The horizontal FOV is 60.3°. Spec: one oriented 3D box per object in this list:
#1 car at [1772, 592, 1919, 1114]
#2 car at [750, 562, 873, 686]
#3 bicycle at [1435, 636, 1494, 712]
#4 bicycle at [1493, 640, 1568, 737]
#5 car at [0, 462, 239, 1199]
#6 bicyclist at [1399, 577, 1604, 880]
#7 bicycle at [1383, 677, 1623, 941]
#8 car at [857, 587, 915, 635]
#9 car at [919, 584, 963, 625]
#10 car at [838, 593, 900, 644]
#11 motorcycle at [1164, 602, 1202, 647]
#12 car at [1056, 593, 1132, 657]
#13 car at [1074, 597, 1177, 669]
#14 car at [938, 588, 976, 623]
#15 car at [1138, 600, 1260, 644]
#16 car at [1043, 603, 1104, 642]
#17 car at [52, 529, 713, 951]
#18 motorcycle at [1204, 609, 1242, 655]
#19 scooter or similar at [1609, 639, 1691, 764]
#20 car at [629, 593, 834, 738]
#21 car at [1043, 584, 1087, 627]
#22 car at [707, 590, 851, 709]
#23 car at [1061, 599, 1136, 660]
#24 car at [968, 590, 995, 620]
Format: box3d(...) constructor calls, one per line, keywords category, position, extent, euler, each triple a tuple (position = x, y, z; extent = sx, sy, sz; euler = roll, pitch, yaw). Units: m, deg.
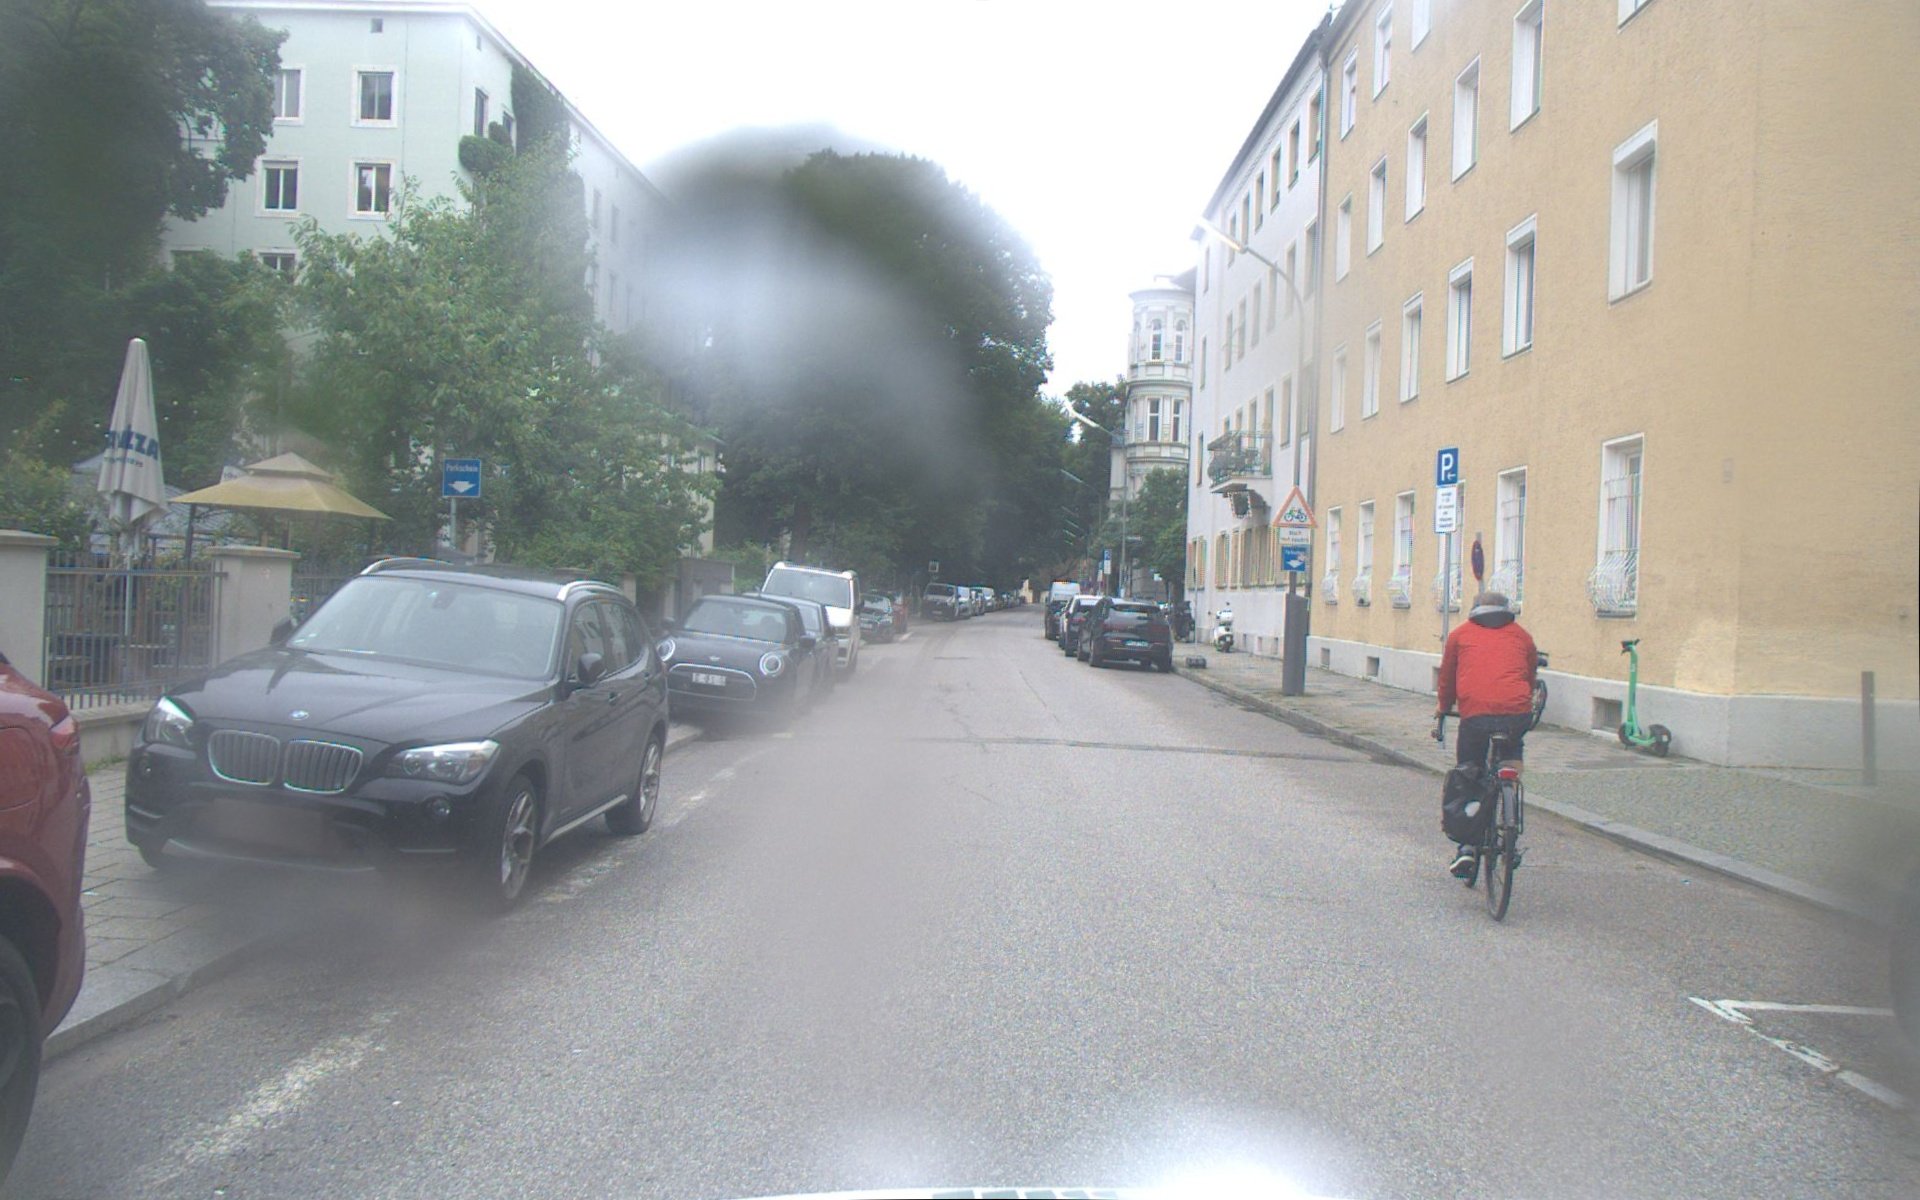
box3d(category="car", position=(4.014, 0.860, 3.696), extent=(1.952, 1.659, 5.101), euler=(3, 0, 2))
box3d(category="car", position=(-2.702, 0.409, 31.158), extent=(1.927, 2.025, 5.149), euler=(3, 0, -2))
box3d(category="bicycle", position=(7.777, 1.120, 25.571), extent=(0.335, 1.101, 1.813), euler=(0, 0, 0))
box3d(category="bicycle", position=(7.468, 1.133, 21.710), extent=(0.335, 1.155, 1.759), euler=(2, 0, 0))
box3d(category="car", position=(-3.075, 0.504, 2.305), extent=(1.863, 1.721, 4.809), euler=(3, 0, 1))
box3d(category="bicyclist", position=(2.901, 0.660, 8.958), extent=(0.739, 1.509, 0.981), euler=(3, 0, 2))
box3d(category="bicycle", position=(2.897, 1.063, 9.049), extent=(0.658, 1.161, 2.011), euler=(3, 0, 2))
box3d(category="car", position=(-2.710, 0.395, 61.674), extent=(1.848, 1.618, 4.528), euler=(3, 0, 0))
box3d(category="car", position=(-0.991, 0.241, 89.812), extent=(2.202, 1.990, 5.453), euler=(3, 0, 0))
box3d(category="car", position=(-2.798, 0.552, 51.937), extent=(1.771, 1.426, 4.922), euler=(3, 0, -2))
box3d(category="motorcycle", position=(7.631, 0.817, 56.764), extent=(0.839, 1.458, 2.706), euler=(2, 0, -1))
box3d(category="car", position=(4.082, 0.726, 51.046), extent=(1.953, 1.736, 4.535), euler=(4, 0, 1))
box3d(category="car", position=(3.957, 0.753, 40.306), extent=(1.823, 1.604, 4.898), euler=(1, 0, -2))
box3d(category="car", position=(-0.157, 0.317, 101.511), extent=(2.139, 1.990, 5.167), euler=(3, 0, 0))
box3d(category="car", position=(9.954, 0.910, 69.151), extent=(4.805, 1.558, 1.914), euler=(2, 2, 0))
box3d(category="car", position=(4.122, 0.791, 60.547), extent=(1.959, 1.342, 4.595), euler=(0, 0, 0))
box3d(category="car", position=(-2.748, 0.578, 9.220), extent=(1.807, 1.635, 4.743), euler=(3, 0, 2))
box3d(category="motorcycle", position=(7.622, 0.926, 47.971), extent=(0.717, 1.260, 2.007), euler=(3, 0, 0))
box3d(category="scooter or similar", position=(7.458, 1.080, 17.926), extent=(0.335, 1.277, 1.309), euler=(0, 0, 0))
box3d(category="car", position=(-2.644, 0.711, 20.094), extent=(1.820, 1.571, 4.188), euler=(0, 0, 1))
box3d(category="car", position=(5.658, 0.319, 89.620), extent=(2.158, 2.247, 4.856), euler=(1, 0, 1))
box3d(category="car", position=(-2.652, 0.669, 25.184), extent=(1.849, 1.570, 4.693), euler=(2, 0, -3))
box3d(category="car", position=(3.778, 0.779, 45.745), extent=(1.800, 1.558, 4.416), euler=(1, 0, 2))
box3d(category="car", position=(1.800, 0.396, 134.474), extent=(1.961, 2.224, 4.697), euler=(3, 0, 2))
